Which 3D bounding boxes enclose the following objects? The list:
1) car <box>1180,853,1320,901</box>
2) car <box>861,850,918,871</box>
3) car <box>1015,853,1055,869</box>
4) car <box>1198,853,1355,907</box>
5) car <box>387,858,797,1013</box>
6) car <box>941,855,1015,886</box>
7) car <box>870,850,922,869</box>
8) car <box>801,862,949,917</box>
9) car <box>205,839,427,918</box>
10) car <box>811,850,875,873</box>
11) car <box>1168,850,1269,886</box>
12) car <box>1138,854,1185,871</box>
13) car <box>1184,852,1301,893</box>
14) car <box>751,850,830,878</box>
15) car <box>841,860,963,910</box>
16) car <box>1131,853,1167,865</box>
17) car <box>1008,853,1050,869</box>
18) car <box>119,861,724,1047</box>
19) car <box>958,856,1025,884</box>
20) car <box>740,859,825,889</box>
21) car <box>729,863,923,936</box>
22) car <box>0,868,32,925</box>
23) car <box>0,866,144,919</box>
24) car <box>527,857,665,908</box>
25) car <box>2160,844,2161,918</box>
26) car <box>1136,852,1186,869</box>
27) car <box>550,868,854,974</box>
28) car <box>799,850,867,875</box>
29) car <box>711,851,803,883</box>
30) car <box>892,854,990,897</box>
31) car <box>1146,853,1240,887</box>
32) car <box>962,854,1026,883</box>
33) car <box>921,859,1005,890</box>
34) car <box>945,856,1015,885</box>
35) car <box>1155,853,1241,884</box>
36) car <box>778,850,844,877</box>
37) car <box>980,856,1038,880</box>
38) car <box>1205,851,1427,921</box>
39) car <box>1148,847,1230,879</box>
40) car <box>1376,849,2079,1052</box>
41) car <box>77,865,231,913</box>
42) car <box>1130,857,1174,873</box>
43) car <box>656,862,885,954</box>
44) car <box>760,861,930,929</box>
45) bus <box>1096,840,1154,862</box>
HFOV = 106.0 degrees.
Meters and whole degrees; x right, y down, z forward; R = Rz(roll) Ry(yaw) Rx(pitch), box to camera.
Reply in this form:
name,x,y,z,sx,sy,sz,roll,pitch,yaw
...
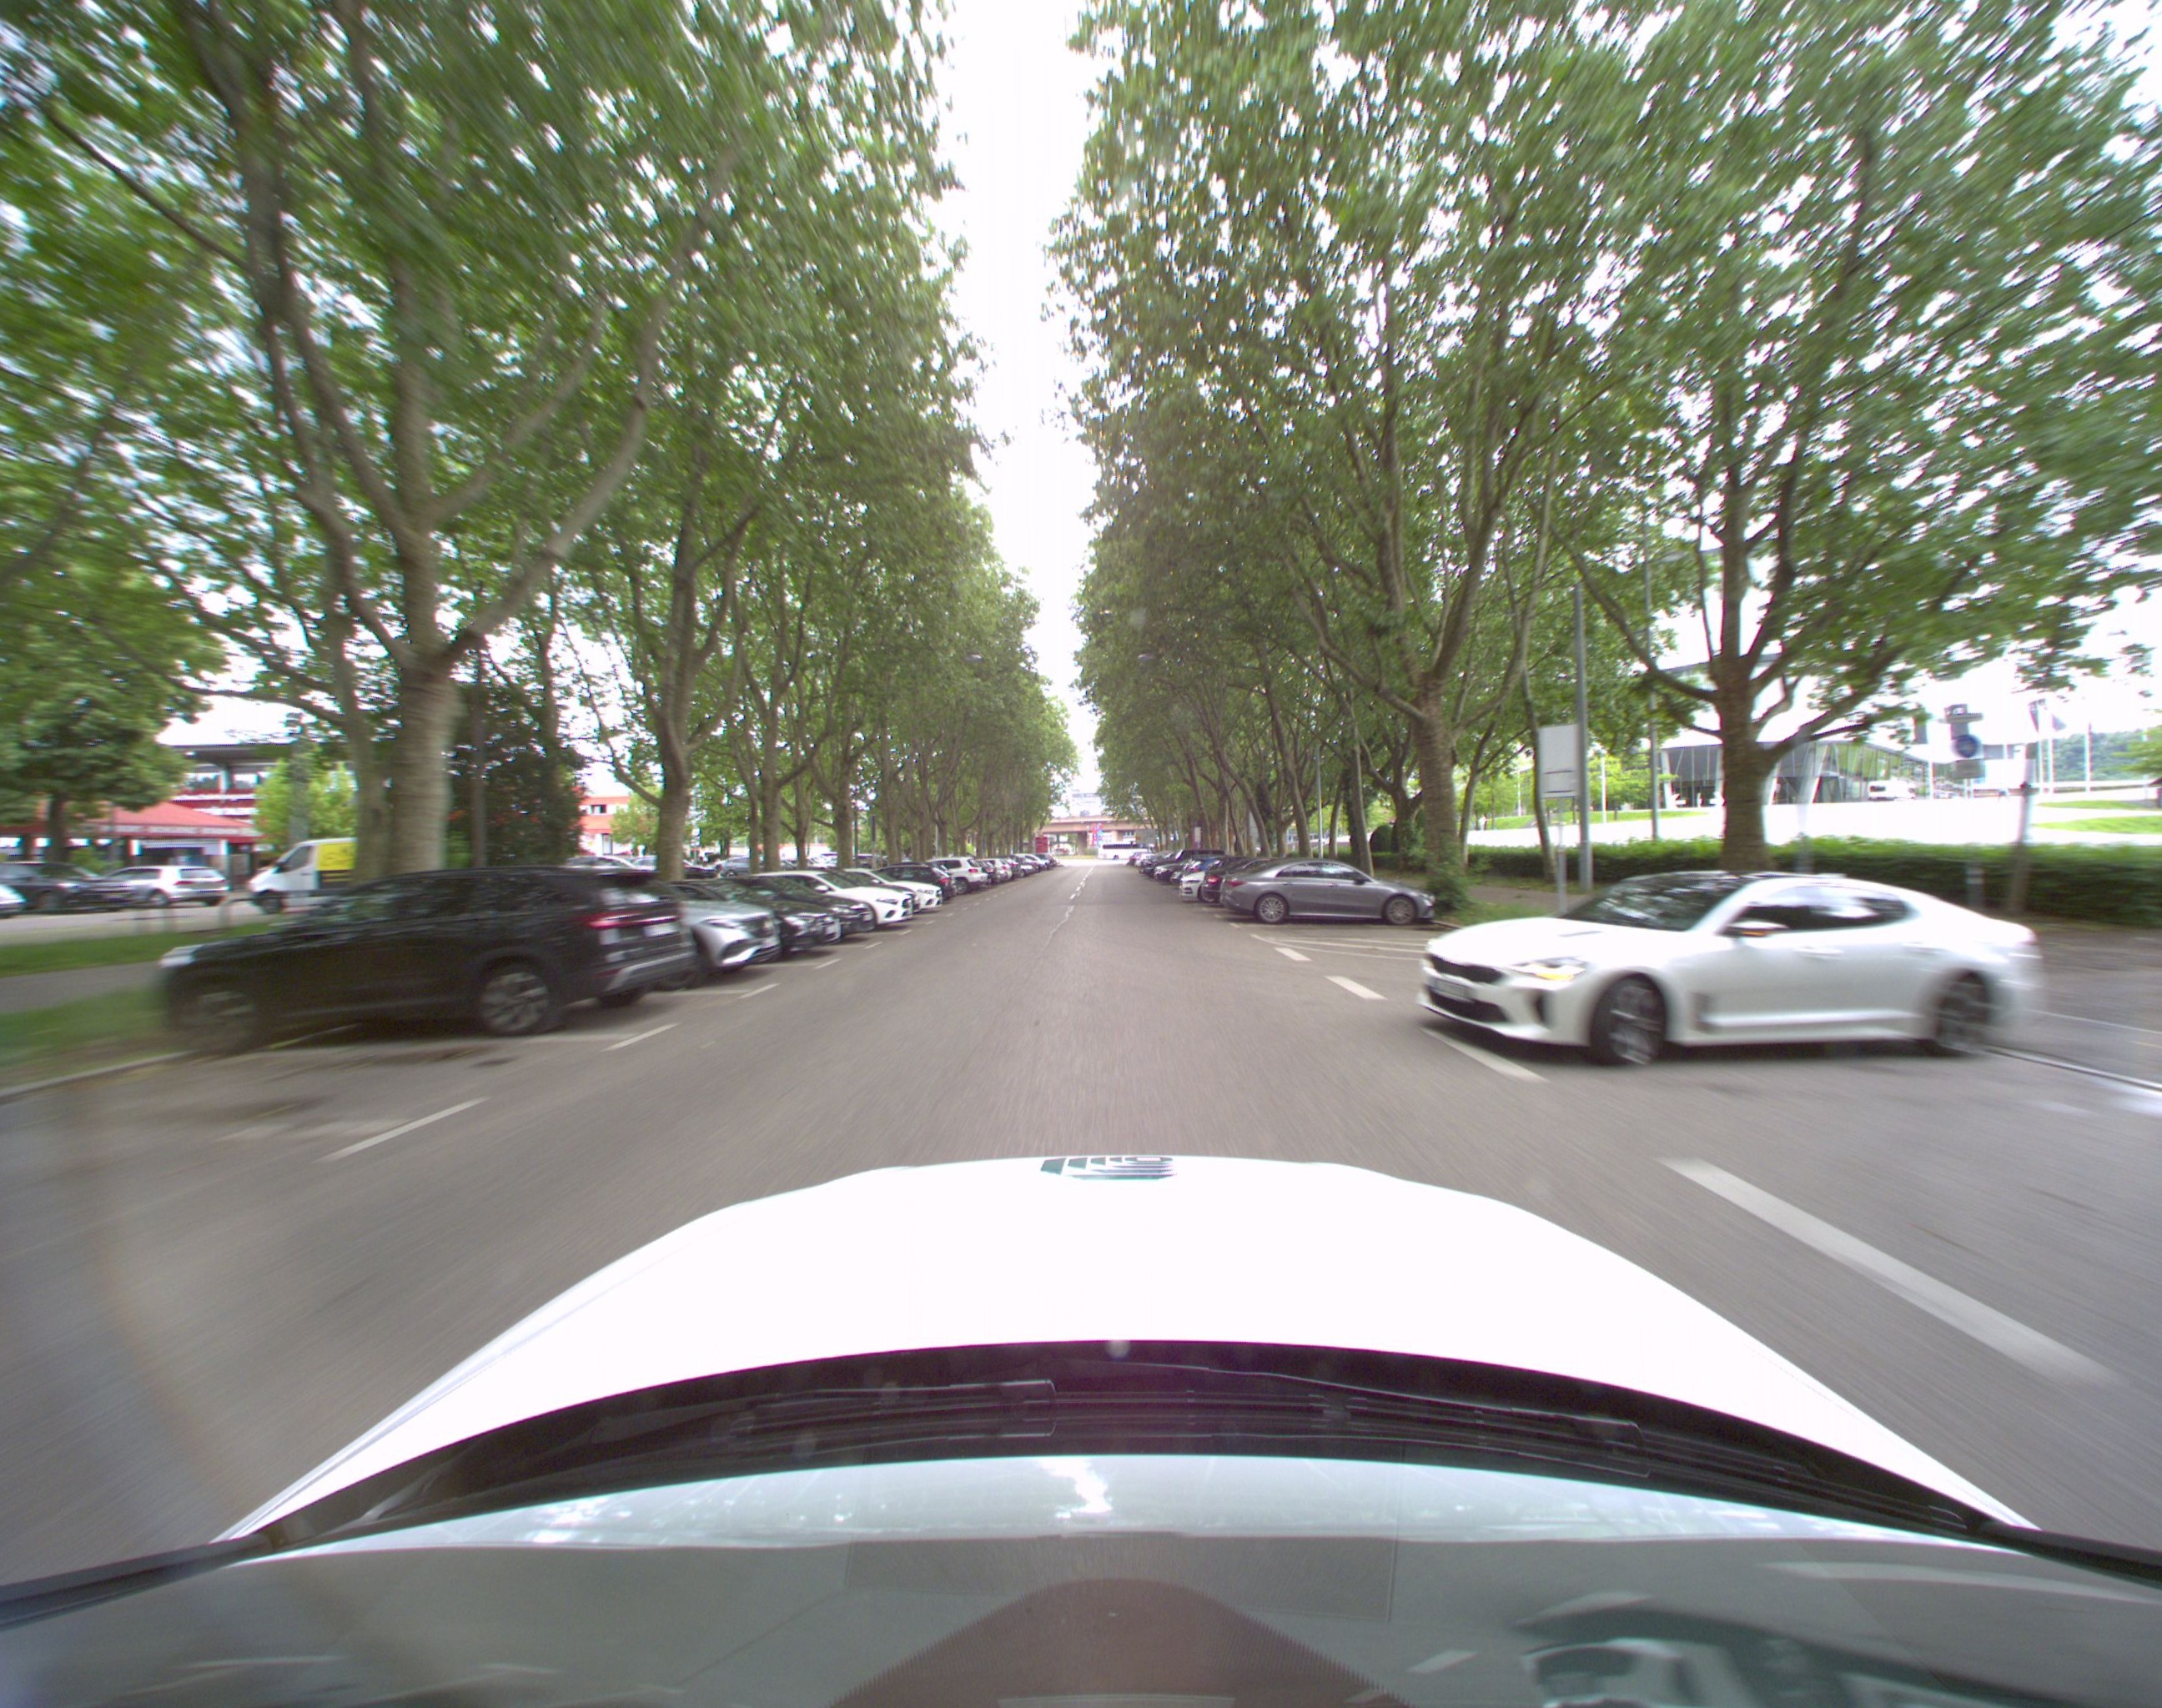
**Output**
name,x,y,z,sx,sy,sz,roll,pitch,yaw
car,5.196,0.705,25.527,4.154,1.442,1.734,-1,0,6
car,-19.077,0.617,81.355,5.054,2.014,2.178,0,0,4
car,-4.528,0.686,80.847,3.796,1.515,1.688,-1,0,4
car,5.443,0.711,23.155,4.154,1.442,1.734,-1,0,6
car,-6.499,1.040,11.208,4.458,1.677,1.762,-3,0,-1
car,-5.821,0.912,46.256,3.794,1.515,1.689,-3,0,6
car,-20.009,0.582,88.353,5.054,2.014,2.178,0,0,4
car,-6.009,1.026,23.952,3.794,1.330,1.665,-3,0,6
car,-22.582,0.701,24.152,5.062,2.232,1.535,0,0,-1
car,-21.524,0.668,73.758,5.054,2.014,2.178,0,0,4
car,5.886,0.593,35.117,4.037,1.468,1.730,-1,0,-2
car,7.711,0.831,78.629,4.364,1.522,1.730,-1,0,-2
car,5.951,0.683,30.442,4.154,1.442,1.734,-1,0,6
car,-21.560,0.742,60.578,5.054,2.014,2.178,0,0,4
car,-6.308,1.068,28.900,3.794,1.484,1.665,-3,0,6
car,8.344,0.600,99.930,4.360,1.522,1.732,-1,0,2
car,-4.970,0.689,78.460,3.796,1.515,1.688,-1,0,4
car,-6.595,0.941,8.620,4.650,1.427,1.999,-3,0,-1
car,-5.609,0.996,51.057,3.794,1.515,1.689,-3,0,6
car,-20.772,1.365,56.851,5.054,2.014,2.178,0,0,4
car,-5.755,1.008,18.642,3.794,1.354,1.665,-3,0,6
car,-32.675,1.228,23.094,3.744,1.590,1.535,0,0,-2
car,-32.671,1.207,26.054,3.963,1.590,1.698,0,0,9
car,-22.173,1.287,37.346,5.054,2.232,2.178,0,0,4
car,14.242,0.527,7.920,4.916,1.402,2.000,-2,0,-1
car,7.266,0.571,74.563,4.364,1.522,1.730,-1,0,-2
car,-6.233,1.074,13.774,4.154,1.381,1.871,-3,0,-1
car,-21.032,0.700,69.241,5.054,2.014,2.178,0,0,4
car,-20.946,0.857,52.837,5.054,2.014,2.178,0,0,4
car,-6.174,0.939,36.161,3.794,1.602,1.789,-3,0,6
car,5.099,0.732,37.339,4.037,1.468,1.730,-1,0,-2
car,-5.699,0.951,53.659,3.794,1.689,1.689,-3,0,6
car,-5.961,1.037,41.313,3.794,1.296,1.789,-3,0,6
car,-6.050,0.980,48.897,3.794,1.515,1.689,-3,0,6
car,5.830,0.710,40.717,4.037,1.468,1.730,-1,0,-2
car,-20.885,0.698,63.037,4.331,2.014,2.178,0,0,4
car,-5.189,1.010,59.025,3.794,1.515,1.689,-3,0,6
car,5.159,0.692,18.442,4.551,1.486,2.003,-1,0,6
car,6.041,0.503,45.830,4.364,1.751,1.730,-1,0,-2
car,5.352,0.729,7.050,4.931,1.402,1.994,2,0,-10
car,-32.500,1.192,28.580,3.963,1.590,1.698,0,0,9
car,7.221,1.139,82.608,4.360,1.522,1.732,-1,0,2
car,-6.046,1.024,16.161,3.802,1.484,1.661,-3,0,-1
car,-6.078,1.038,21.220,3.795,1.484,1.665,-3,0,5
bus,9.125,-0.603,169.296,11.575,3.971,2.446,-2,-1,-10
